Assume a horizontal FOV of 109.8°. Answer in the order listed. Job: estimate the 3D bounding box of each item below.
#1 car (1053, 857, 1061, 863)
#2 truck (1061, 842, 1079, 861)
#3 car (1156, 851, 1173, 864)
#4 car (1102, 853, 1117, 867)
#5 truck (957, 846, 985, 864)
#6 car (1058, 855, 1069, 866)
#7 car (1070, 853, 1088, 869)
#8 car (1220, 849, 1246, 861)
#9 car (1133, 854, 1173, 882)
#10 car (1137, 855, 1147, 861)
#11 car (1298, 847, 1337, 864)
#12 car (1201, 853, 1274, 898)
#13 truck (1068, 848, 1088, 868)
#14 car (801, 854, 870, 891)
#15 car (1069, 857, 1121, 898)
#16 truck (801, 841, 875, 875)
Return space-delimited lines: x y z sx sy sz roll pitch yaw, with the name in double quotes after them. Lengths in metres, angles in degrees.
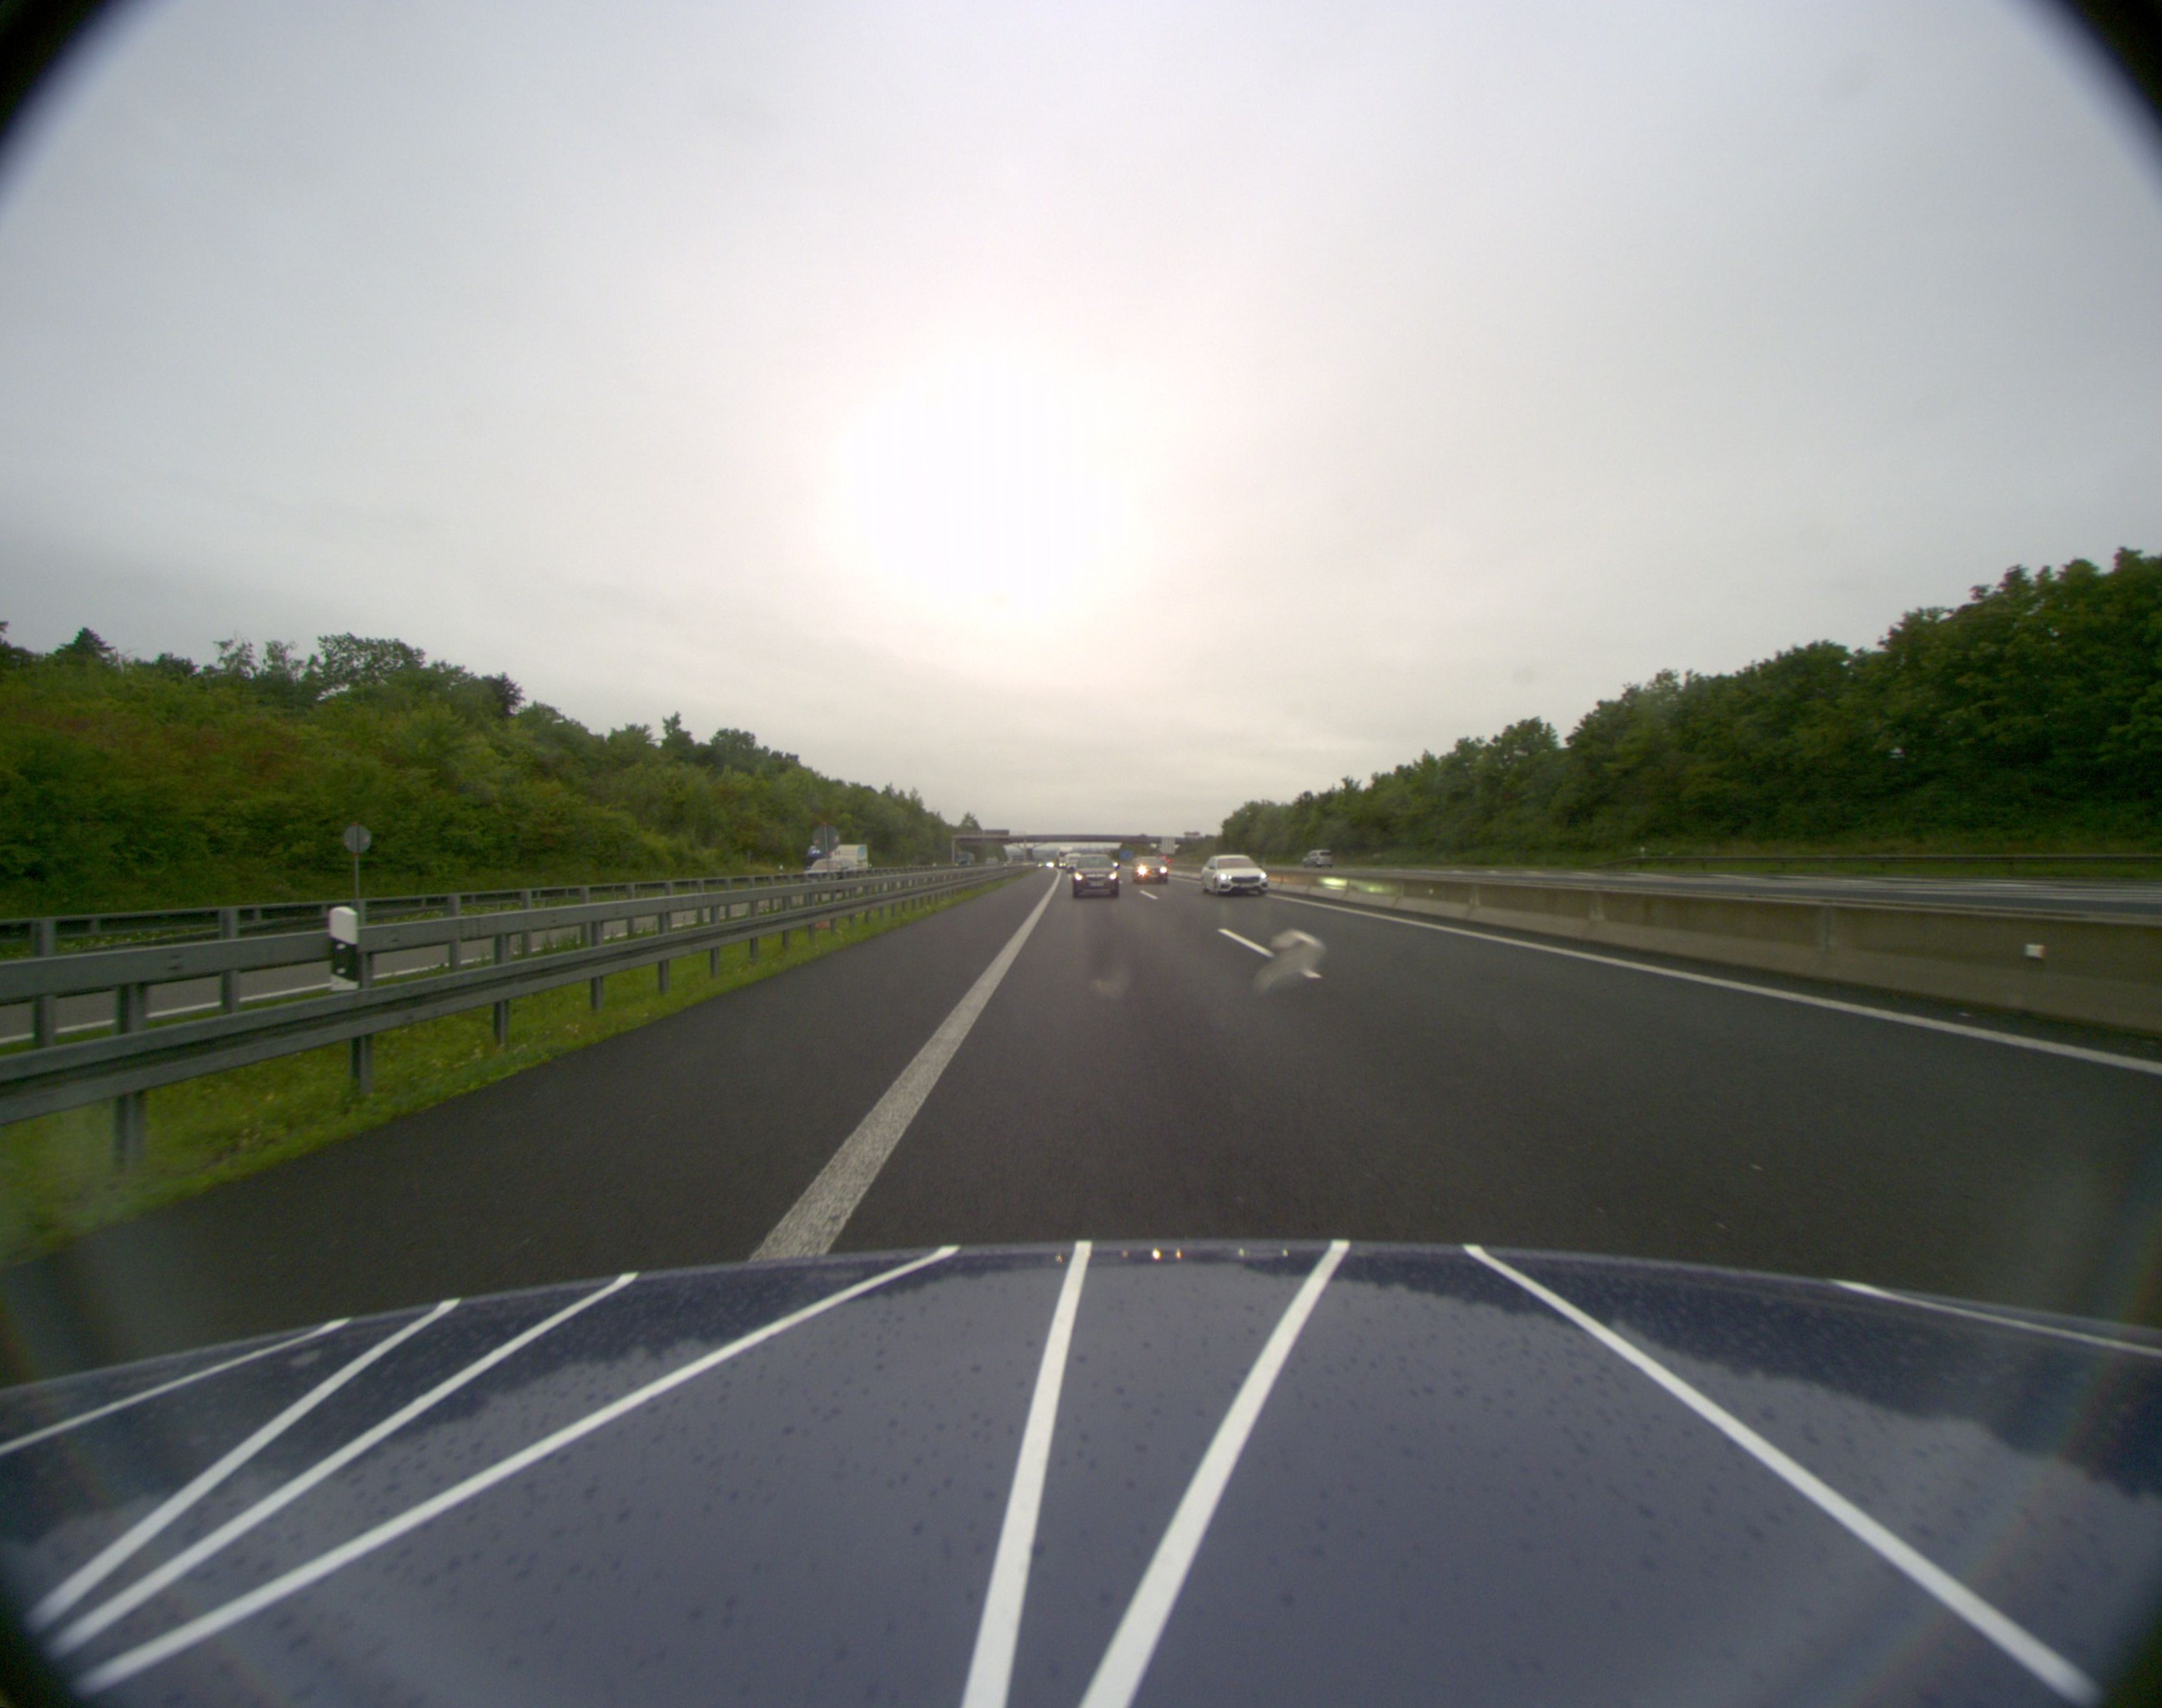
-7.047 1.642 223.843 1.917 1.671 4.000 -1 0 1 "car"
-1.973 -0.487 143.378 3.154 3.332 13.099 -2 0 -1 "truck"
11.768 0.514 107.294 2.185 1.686 4.865 -1 0 3 "car"
3.610 0.700 96.283 1.716 1.724 3.999 -1 0 -1 "car"
-21.551 0.147 149.838 2.908 3.397 13.355 -1 0 2 "truck"
-2.882 0.985 125.210 1.716 1.724 3.999 -1 0 -1 "car"
-0.201 0.718 81.233 1.825 1.669 4.000 -2 0 1 "car"
22.820 0.152 114.154 2.187 1.686 4.624 -1 0 -10 "car"
4.029 0.760 43.164 1.905 1.497 4.114 -1 0 1 "car"
15.632 0.989 194.966 2.185 1.625 4.537 -1 0 1 "car"
24.948 0.201 80.376 2.187 1.686 4.565 -1 0 -8 "car"
5.716 0.733 28.185 1.905 1.497 4.114 -1 0 1 "car"
-0.315 0.459 88.478 2.175 2.214 5.642 -1 0 1 "truck"
-12.243 0.877 38.214 2.013 1.645 4.472 -1 0 0 "car"
0.560 0.880 30.292 1.905 1.497 4.114 -1 0 1 "car"
-26.003 0.371 81.946 2.905 3.397 9.293 -1 0 15 "truck"
